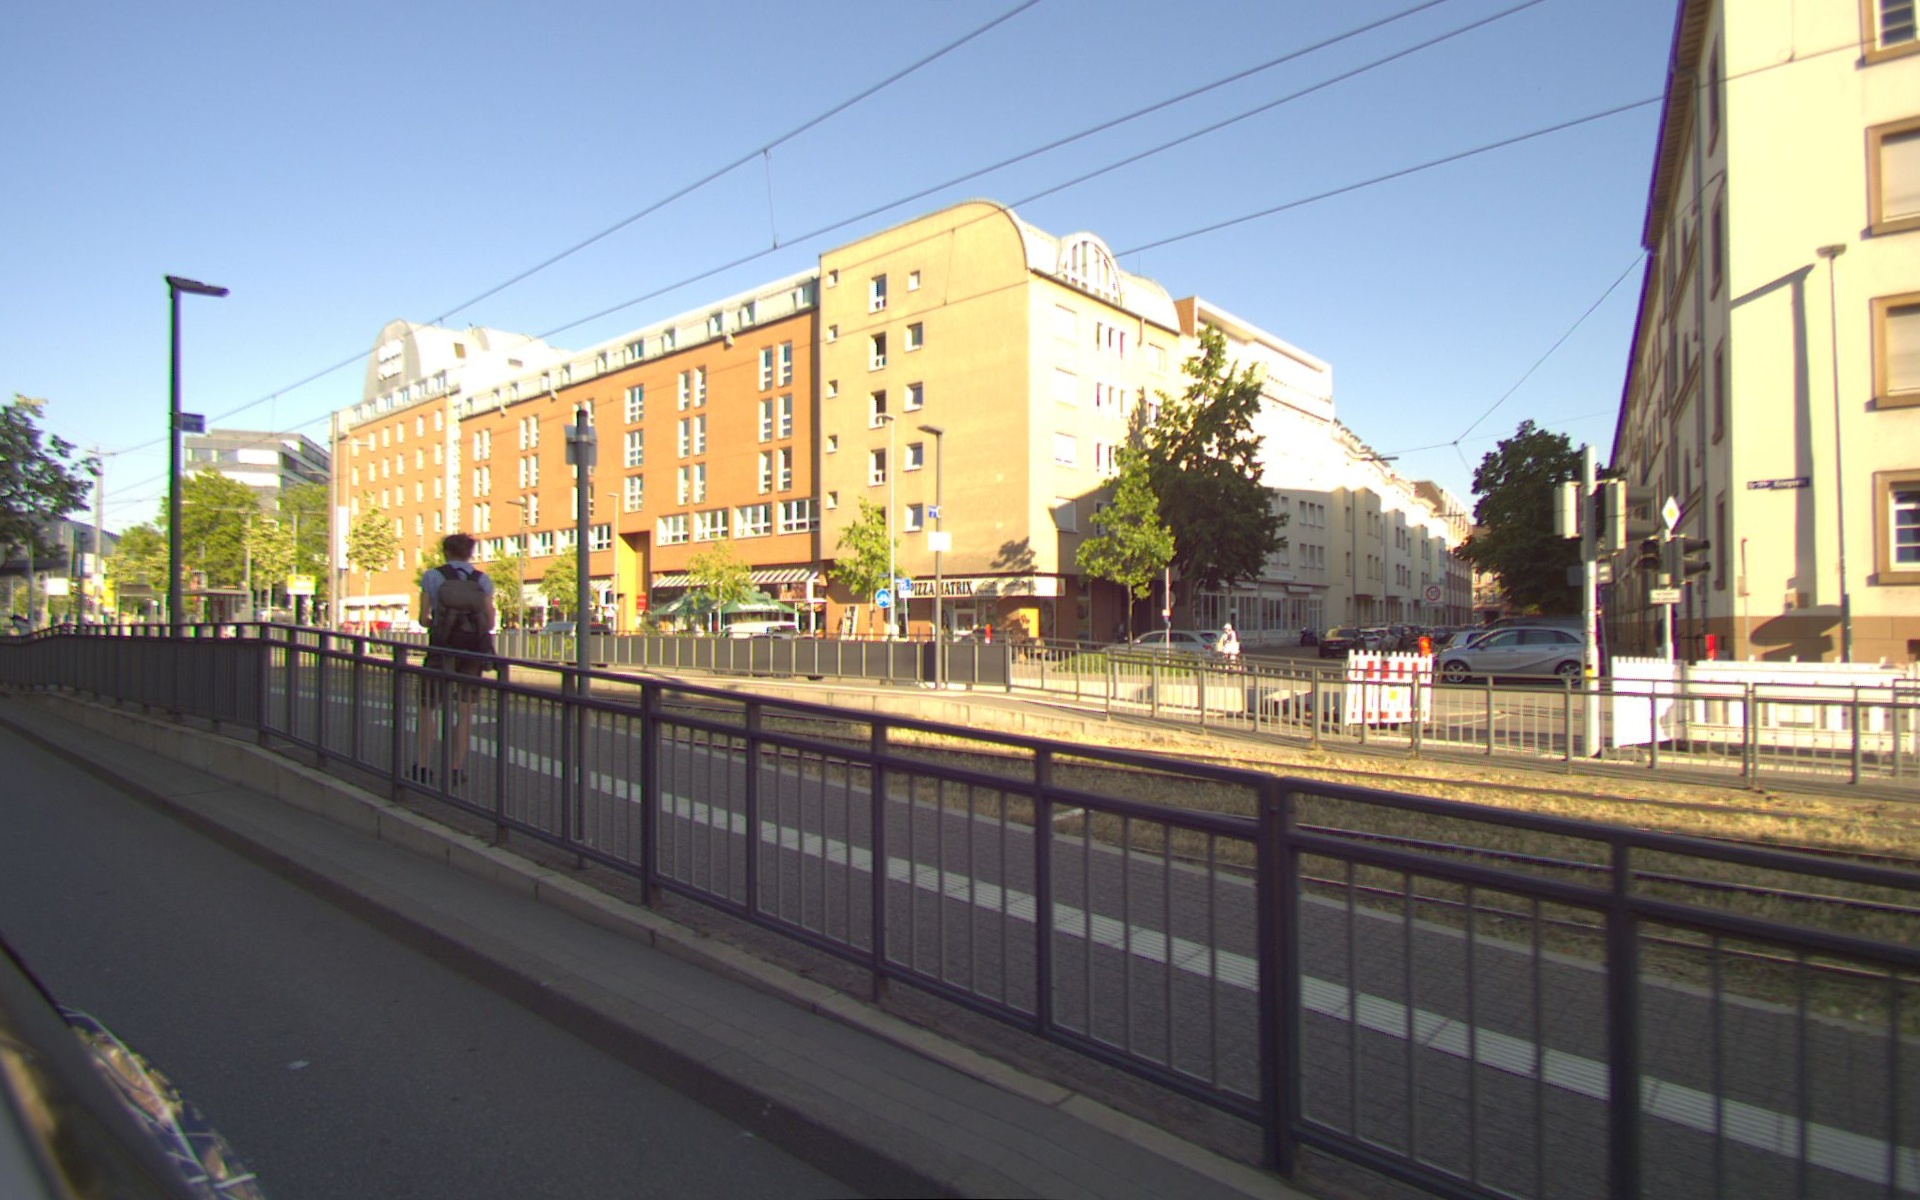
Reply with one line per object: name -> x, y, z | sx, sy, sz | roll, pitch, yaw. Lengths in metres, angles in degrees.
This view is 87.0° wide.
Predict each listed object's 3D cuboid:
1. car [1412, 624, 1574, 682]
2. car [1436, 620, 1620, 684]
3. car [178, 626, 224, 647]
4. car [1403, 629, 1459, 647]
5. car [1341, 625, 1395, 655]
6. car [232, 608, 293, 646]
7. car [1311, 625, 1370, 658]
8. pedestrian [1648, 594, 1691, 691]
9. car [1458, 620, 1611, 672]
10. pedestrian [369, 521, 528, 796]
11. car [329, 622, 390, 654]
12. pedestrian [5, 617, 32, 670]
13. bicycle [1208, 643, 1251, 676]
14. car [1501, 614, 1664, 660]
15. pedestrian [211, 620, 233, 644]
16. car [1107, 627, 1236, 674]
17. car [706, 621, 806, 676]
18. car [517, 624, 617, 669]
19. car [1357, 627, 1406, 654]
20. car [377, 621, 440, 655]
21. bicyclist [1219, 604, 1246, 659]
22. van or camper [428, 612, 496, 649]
car -> 15.710, 1.547, 29.887 | 3.991, 1.597, 1.821 | -2, -3, 36
car -> 15.266, 1.392, 27.276 | 4.122, 1.597, 1.821 | -2, -3, 36
car -> -57.115, 2.760, 76.106 | 3.995, 1.544, 1.867 | -2, -3, 39
car -> 39.428, 3.180, 84.700 | 3.991, 1.513, 1.821 | -2, -3, 36
car -> 22.638, 2.211, 56.087 | 1.839, 1.597, 4.107 | -2, -3, 35
car -> -45.493, 1.762, 65.955 | 4.916, 2.376, 2.025 | -1, -2, 40
car -> 19.614, 2.108, 52.066 | 1.839, 1.597, 4.107 | -2, -3, 35
pedestrian -> 15.245, 0.916, 21.741 | 0.625, 2.029, 0.792 | -2, -3, 41
car -> 17.997, 1.435, 31.744 | 3.991, 1.513, 1.821 | -2, -3, 36
pedestrian -> -3.359, 0.353, 6.644 | 0.867, 1.655, 0.648 | 0, 0, 41
car -> -36.905, 2.333, 62.157 | 4.312, 1.881, 1.867 | -2, -3, 40
pedestrian -> -25.303, 1.162, 27.197 | 0.406, 1.396, 0.425 | -1, -1, 29
bicycle -> 8.294, 1.803, 31.079 | 0.684, 0.955, 1.720 | -1, -2, 37
car -> 21.669, 1.300, 35.323 | 4.702, 1.513, 1.821 | -2, -3, 36
pedestrian -> -36.150, 1.558, 49.595 | 0.905, 1.199, 0.666 | -1, -2, 41
car -> 7.542, 1.791, 36.265 | 4.148, 1.597, 1.821 | -2, -3, 36
car -> -8.070, 1.893, 39.842 | 1.970, 2.029, 4.151 | 1, -3, -43
car -> -16.206, 1.848, 41.647 | 4.943, 1.730, 1.971 | -1, -2, 44
car -> 25.089, 2.396, 60.167 | 1.839, 1.597, 4.107 | -2, -3, 35
car -> -31.116, 2.142, 57.037 | 4.316, 1.881, 1.865 | -3, -3, 43
bicyclist -> 8.397, 0.975, 31.237 | 0.665, 1.693, 0.481 | -1, -2, 37
van or camper -> -31.687, 1.990, 64.341 | 5.614, 2.186, 1.972 | -4, -4, 43
